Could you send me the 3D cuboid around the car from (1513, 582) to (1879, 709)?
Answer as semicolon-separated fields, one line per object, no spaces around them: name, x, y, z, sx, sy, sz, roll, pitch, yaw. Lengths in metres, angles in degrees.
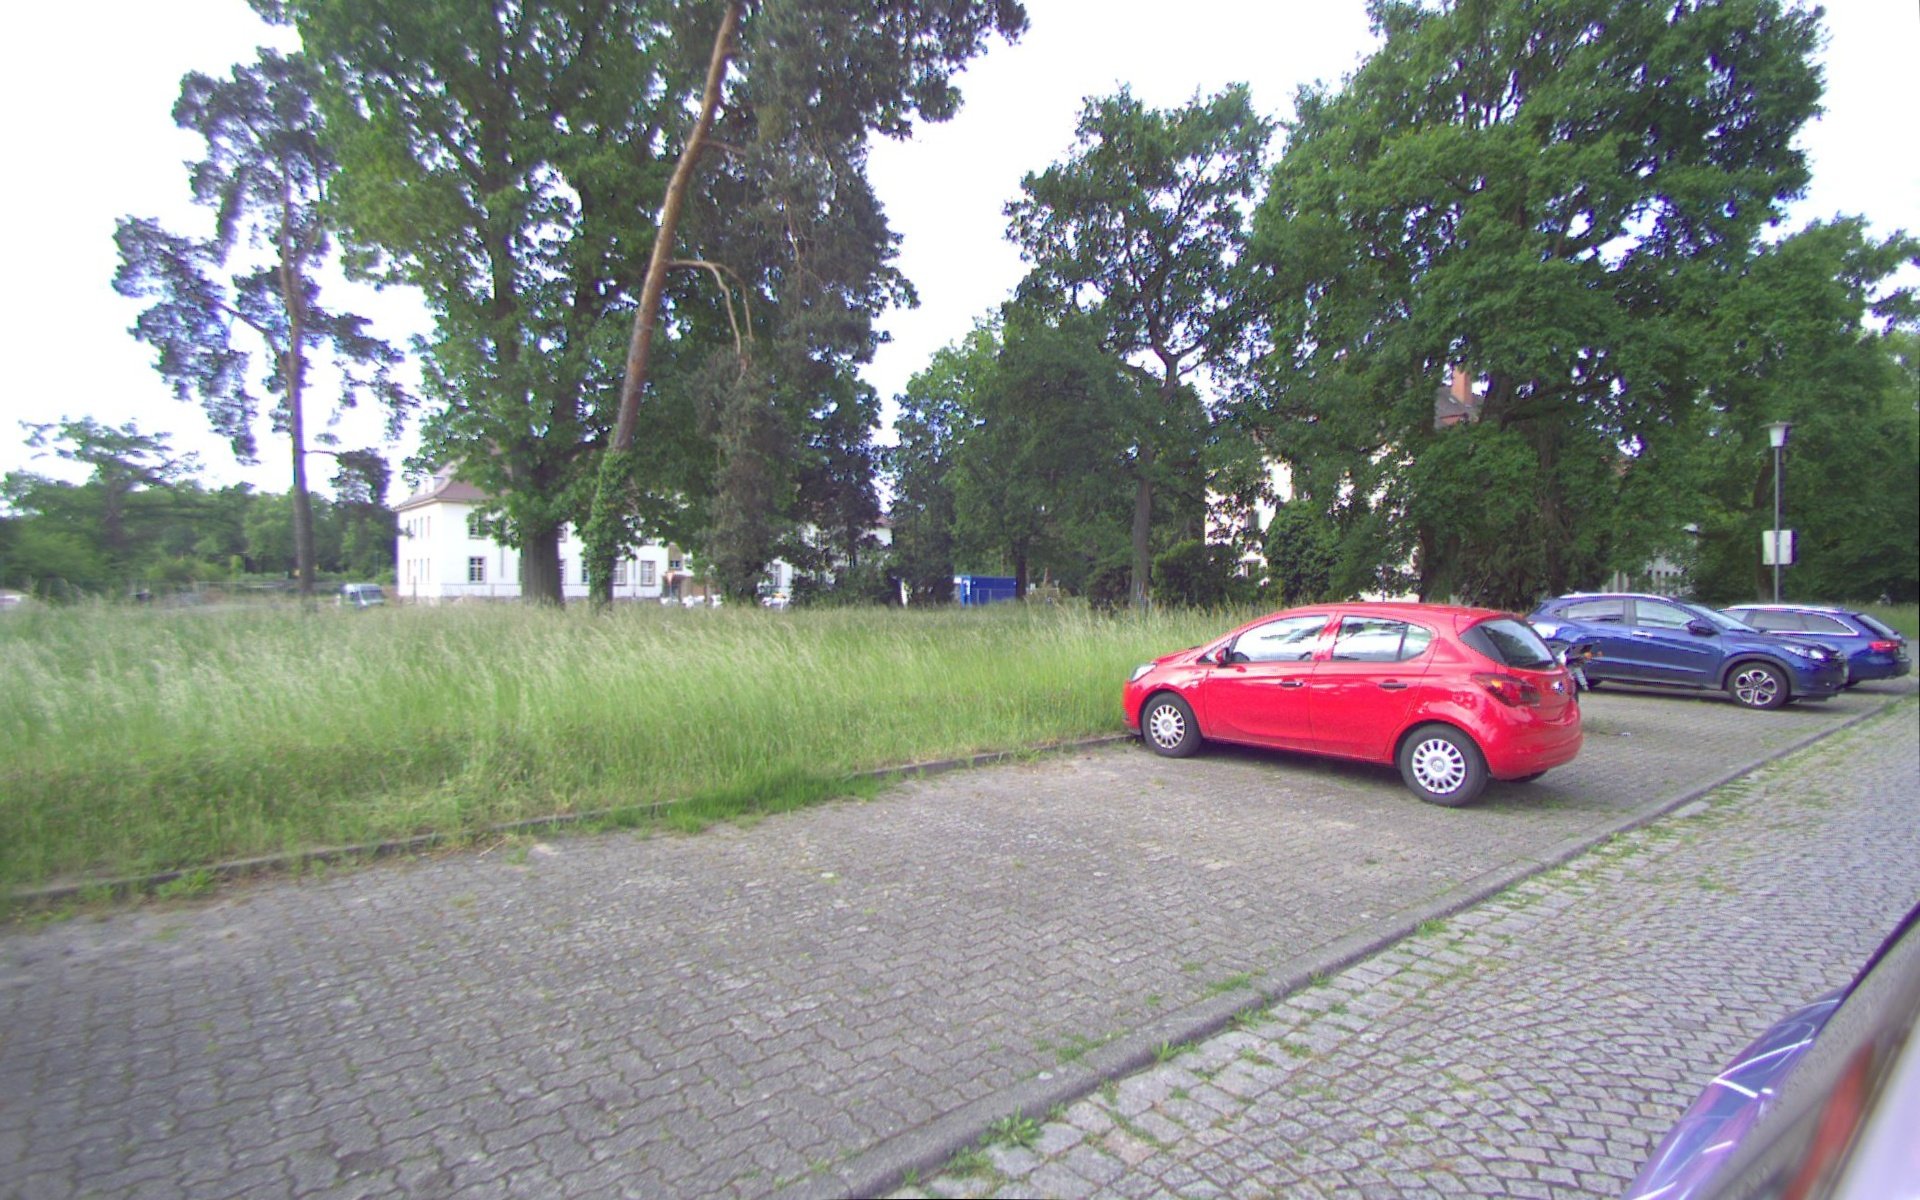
car;11.105;0.567;15.518;1.854;1.643;4.251;0;1;-42

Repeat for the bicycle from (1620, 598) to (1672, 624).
bicycle;30.686;0.489;45.285;1.842;1.185;0.483;-1;-1;29

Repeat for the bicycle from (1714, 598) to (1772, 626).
bicycle;34.292;0.532;44.367;1.921;1.185;0.483;-2;-1;28

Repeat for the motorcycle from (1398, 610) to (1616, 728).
motorcycle;6.489;0.765;12.140;0.558;1.217;2.233;0;1;-42

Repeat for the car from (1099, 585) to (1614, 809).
car;3.323;0.645;9.046;1.754;1.515;3.929;0;1;-42

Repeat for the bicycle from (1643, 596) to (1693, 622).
bicycle;33.148;0.414;47.377;1.851;1.185;0.481;2;1;40

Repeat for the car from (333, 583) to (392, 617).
car;-48.946;0.030;82.824;5.649;2.675;2.247;-2;-1;38

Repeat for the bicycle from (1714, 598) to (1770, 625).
bicycle;35.423;0.519;45.849;1.926;1.185;0.531;-2;-1;34

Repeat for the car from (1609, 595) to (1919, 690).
car;14.683;0.664;18.498;1.891;1.457;4.368;0;1;-38
